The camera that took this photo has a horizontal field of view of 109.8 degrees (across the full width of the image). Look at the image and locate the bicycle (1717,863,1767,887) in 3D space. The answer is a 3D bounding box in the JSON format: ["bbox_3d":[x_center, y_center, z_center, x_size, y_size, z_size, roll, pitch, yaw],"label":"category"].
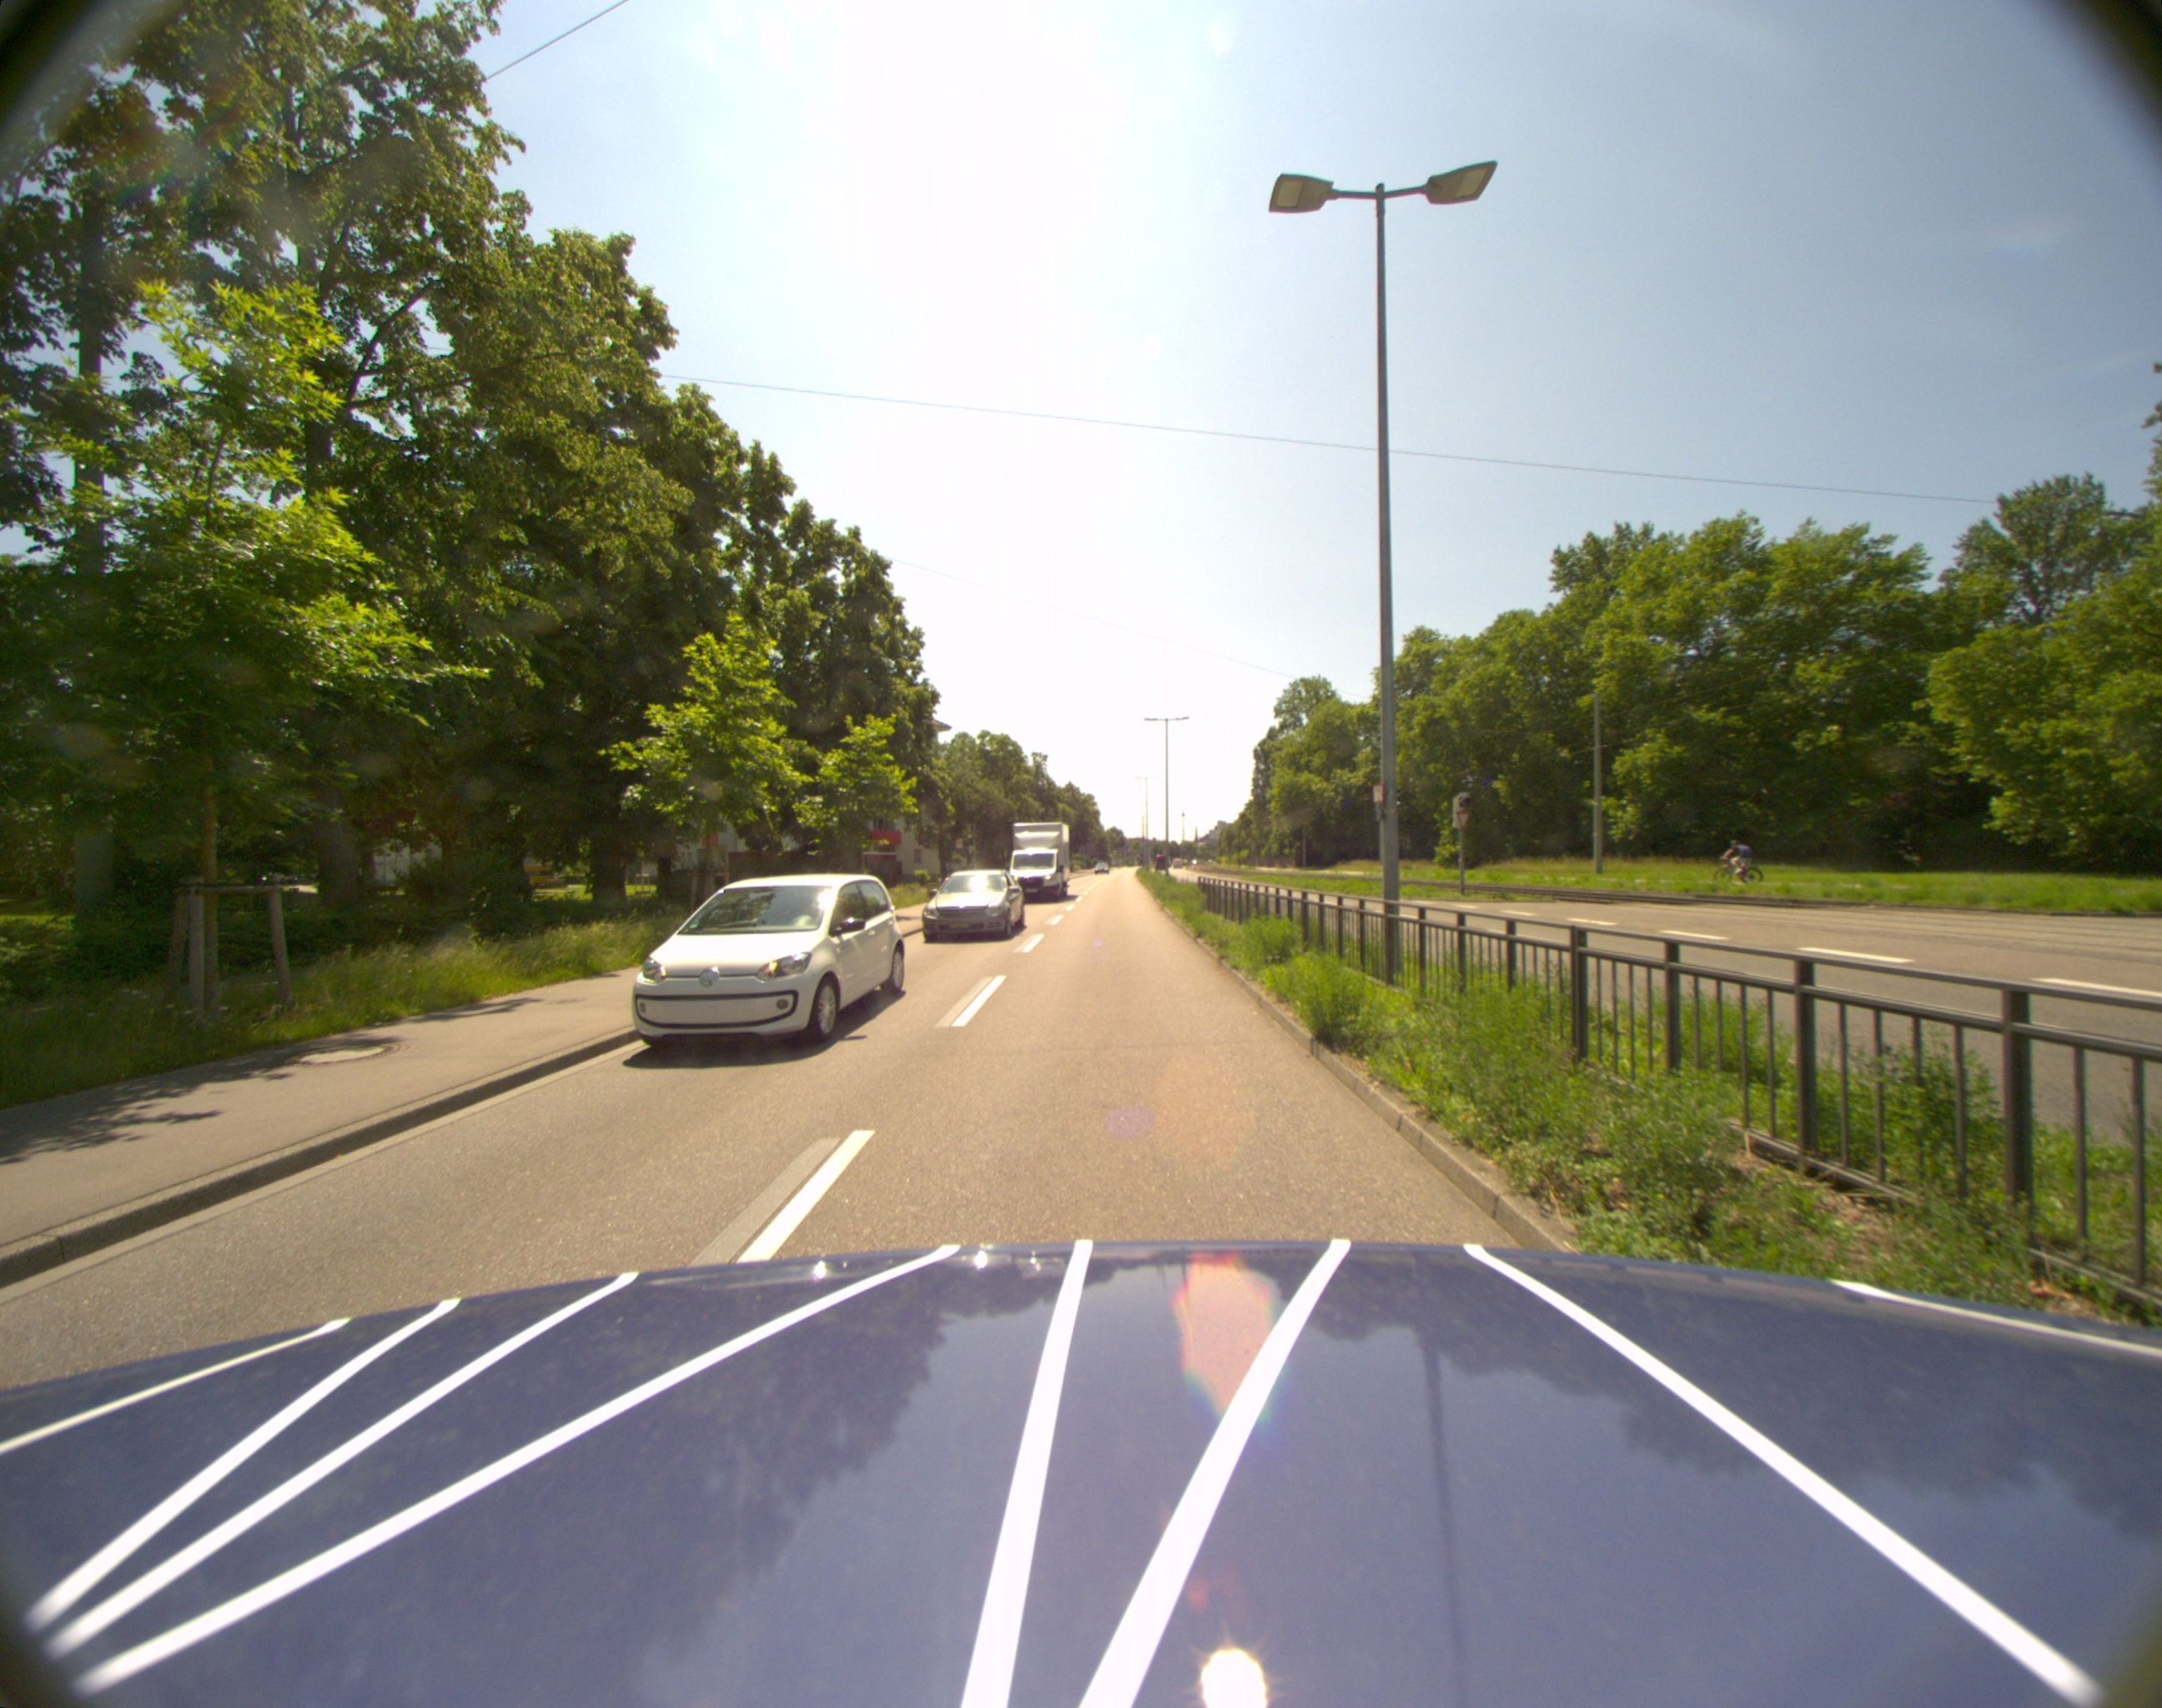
[{"bbox_3d":[26.062,0.813,30.003,0.509,0.896,1.565,-1,0,-5],"label":"bicycle"}]

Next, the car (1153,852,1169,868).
[{"bbox_3d":[11.712,0.903,112.027,1.998,2.352,5.374,0,0,2],"label":"car"}]

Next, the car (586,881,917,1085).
[{"bbox_3d":[-3.038,1.099,7.964,1.663,1.441,3.855,-2,0,1],"label":"car"}]

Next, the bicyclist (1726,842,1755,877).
[{"bbox_3d":[26.021,0.221,29.974,0.509,1.328,0.680,-1,0,-5],"label":"bicyclist"}]

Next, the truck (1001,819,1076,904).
[{"bbox_3d":[-1.694,0.287,33.754,2.294,3.259,8.314,-1,0,4],"label":"truck"}]

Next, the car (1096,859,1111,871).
[{"bbox_3d":[2.954,1.467,100.234,1.829,1.556,4.000,-1,0,1],"label":"car"}]

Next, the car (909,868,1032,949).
[{"bbox_3d":[-2.311,1.122,16.931,1.903,1.451,3.972,-2,0,3],"label":"car"}]

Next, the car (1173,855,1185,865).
[{"bbox_3d":[19.874,1.235,153.789,1.998,2.001,5.031,0,-1,2],"label":"car"}]
